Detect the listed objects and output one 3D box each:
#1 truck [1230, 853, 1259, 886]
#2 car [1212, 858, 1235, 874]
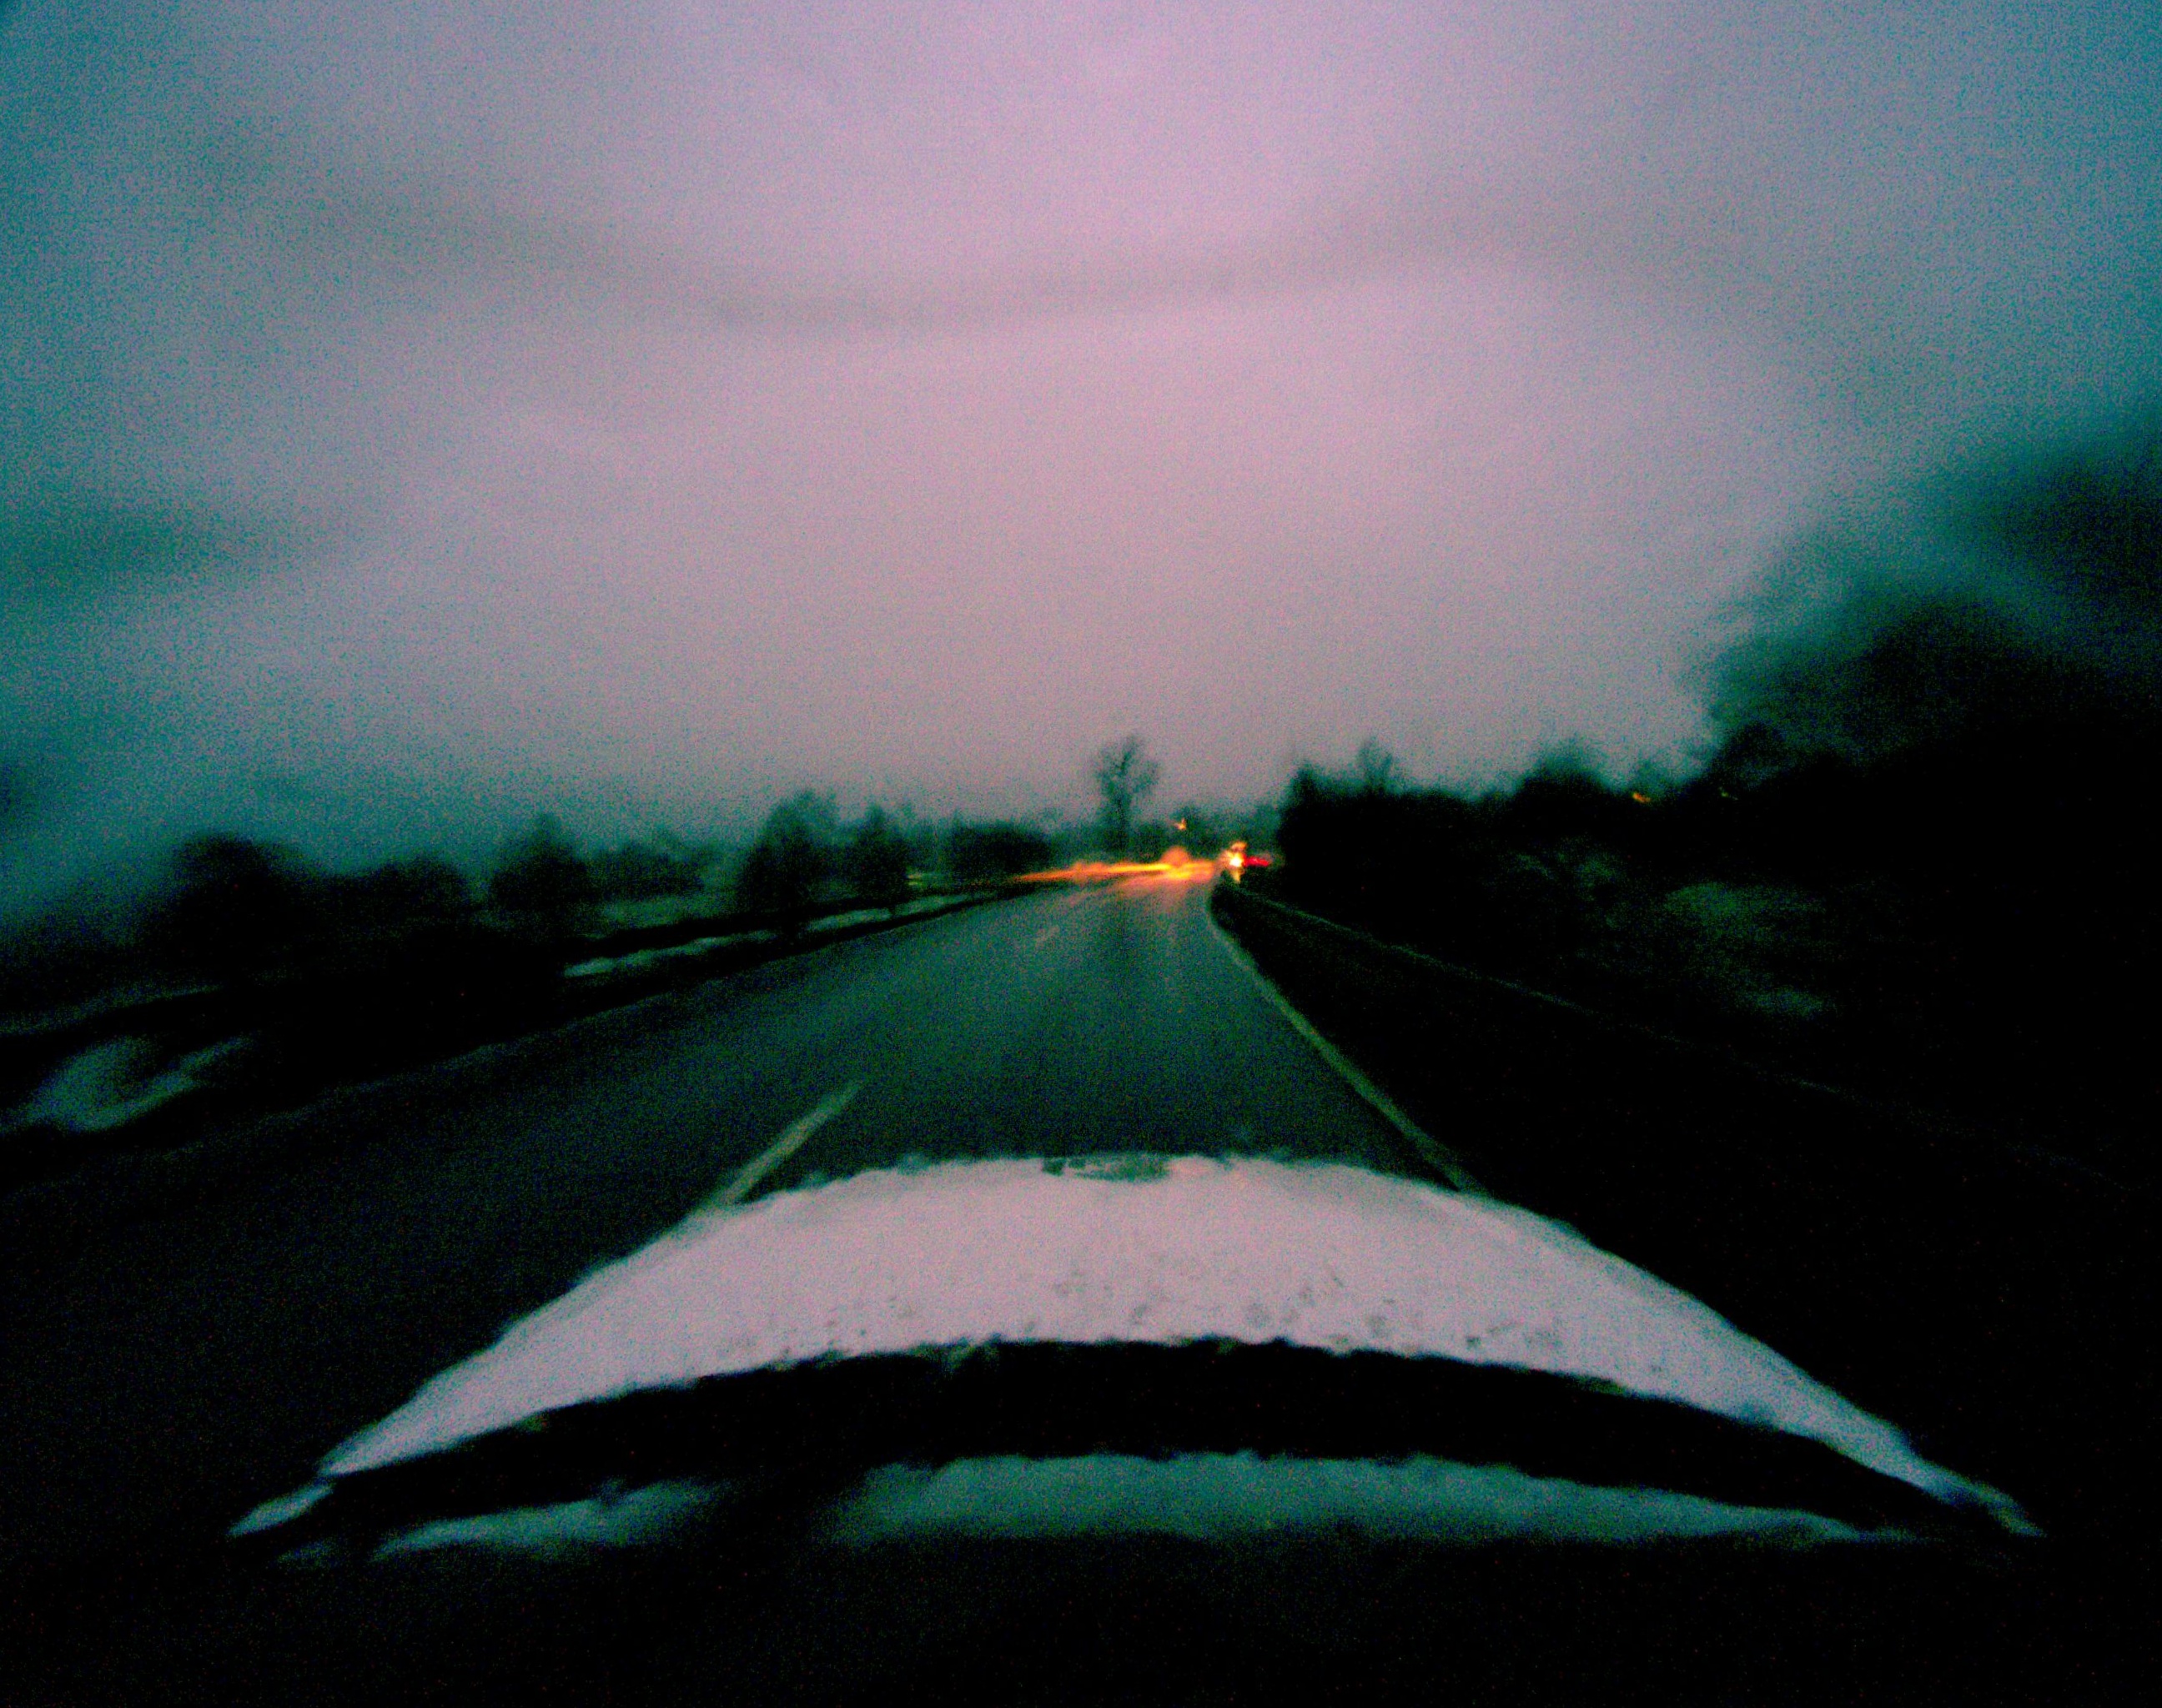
[{"bbox_3d":[16.202,1.482,81.040,2.517,2.868,5.938,3,2,9],"label":"truck"},{"bbox_3d":[16.053,1.291,91.383,1.995,1.634,4.894,-1,0,16],"label":"car"}]
